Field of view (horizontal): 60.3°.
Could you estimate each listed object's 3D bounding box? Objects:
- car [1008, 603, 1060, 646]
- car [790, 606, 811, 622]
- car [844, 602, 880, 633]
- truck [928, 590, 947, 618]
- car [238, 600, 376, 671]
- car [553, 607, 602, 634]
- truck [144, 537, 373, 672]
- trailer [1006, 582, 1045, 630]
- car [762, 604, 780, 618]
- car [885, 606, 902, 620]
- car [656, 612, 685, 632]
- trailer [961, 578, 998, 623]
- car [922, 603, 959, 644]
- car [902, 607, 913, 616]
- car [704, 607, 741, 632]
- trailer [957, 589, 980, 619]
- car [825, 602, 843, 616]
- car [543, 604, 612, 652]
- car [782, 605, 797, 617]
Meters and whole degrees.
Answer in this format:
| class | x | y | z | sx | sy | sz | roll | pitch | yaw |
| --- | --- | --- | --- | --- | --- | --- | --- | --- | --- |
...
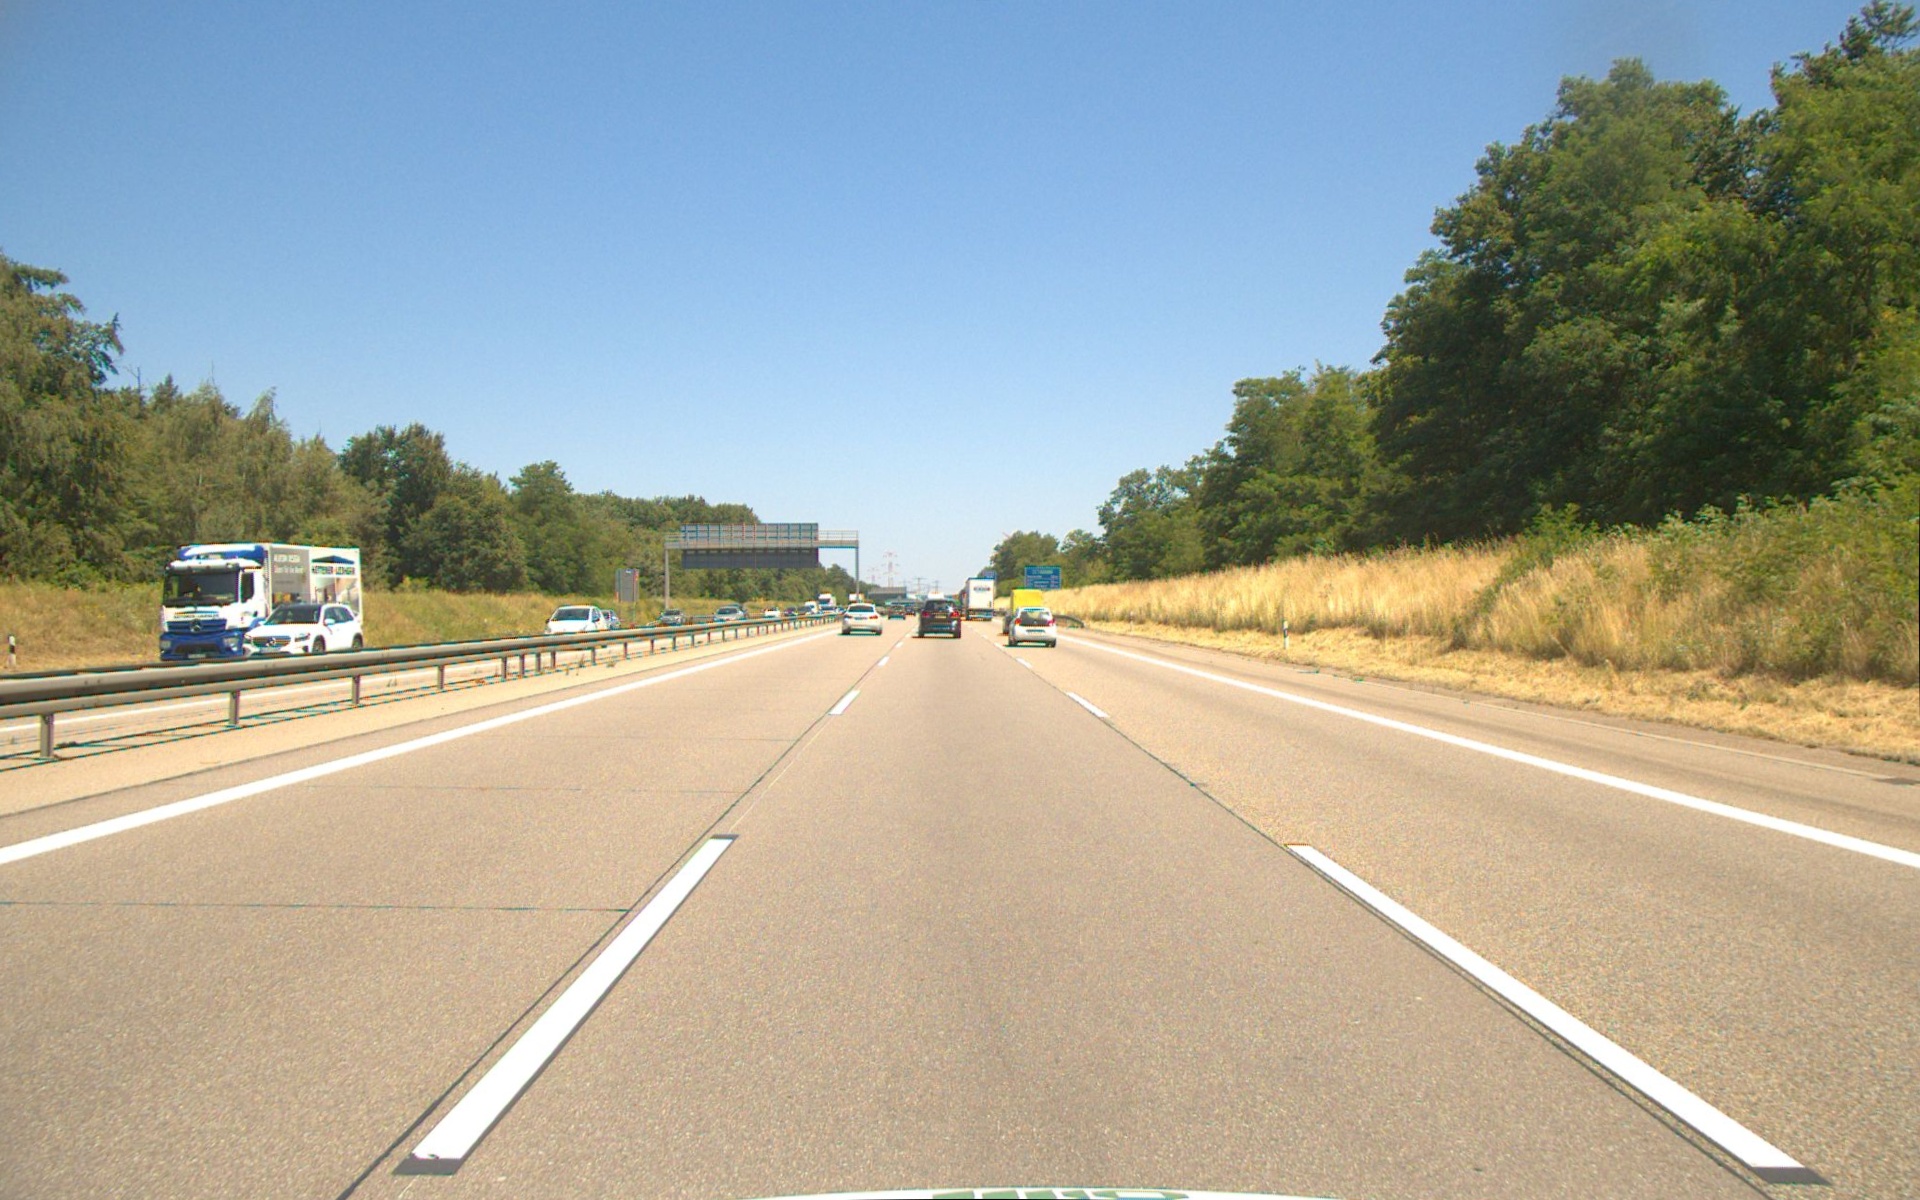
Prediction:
| class | x | y | z | sx | sy | sz | roll | pitch | yaw |
| --- | --- | --- | --- | --- | --- | --- | --- | --- | --- |
| car | 2.714 | 0.885 | 61.598 | 1.673 | 1.521 | 4.023 | 1 | 0 | -1 |
| car | -15.366 | 1.302 | 159.754 | 1.664 | 1.454 | 4.572 | -3 | 0 | -2 |
| car | -4.664 | 0.828 | 79.110 | 1.635 | 1.426 | 3.711 | 0 | 0 | -2 |
| truck | -2.448 | 0.479 | 178.606 | 2.018 | 2.965 | 7.001 | 0 | -1 | -1 |
| car | -17.083 | 0.891 | 43.531 | 1.692 | 1.675 | 5.086 | -3 | 0 | -2 |
| car | -21.842 | 1.156 | 94.615 | 1.621 | 1.435 | 5.175 | -3 | 0 | -1 |
| truck | -21.192 | 0.143 | 50.830 | 2.677 | 3.580 | 10.438 | -3 | 0 | -1 |
| trailer | 3.293 | 0.329 | 83.329 | 1.668 | 2.330 | 3.838 | 1 | -1 | -2 |
| car | -23.368 | 1.359 | 204.694 | 1.758 | 1.543 | 4.902 | -3 | 0 | -2 |
| car | -6.642 | 1.318 | 164.814 | 1.574 | 1.323 | 3.673 | 1 | 0 | -1 |
| car | -23.211 | 1.743 | 132.712 | 1.637 | 1.434 | 4.596 | -3 | 0 | -2 |
| trailer | 1.881 | 0.097 | 166.273 | 3.219 | 4.293 | 13.560 | 1 | -1 | -1 |
| car | -0.873 | 1.053 | 74.632 | 1.593 | 1.785 | 3.804 | 1 | 0 | -1 |
| car | -6.817 | 1.441 | 214.590 | 1.377 | 1.151 | 3.357 | 1 | 0 | -1 |
| car | -15.570 | 1.279 | 108.635 | 1.726 | 1.485 | 5.119 | -3 | 0 | -2 |
| trailer | 1.112 | 0.626 | 221.260 | 2.628 | 3.904 | 12.006 | 1 | -1 | -1 |
| car | -15.038 | 1.051 | 197.236 | 1.758 | 1.500 | 4.985 | -3 | 0 | -1 |
| car | -12.793 | 0.911 | 55.472 | 1.486 | 1.493 | 3.639 | -3 | 0 | -1 |
| car | -24.435 | 1.587 | 237.075 | 1.613 | 1.618 | 4.610 | -2 | 0 | -1 |
